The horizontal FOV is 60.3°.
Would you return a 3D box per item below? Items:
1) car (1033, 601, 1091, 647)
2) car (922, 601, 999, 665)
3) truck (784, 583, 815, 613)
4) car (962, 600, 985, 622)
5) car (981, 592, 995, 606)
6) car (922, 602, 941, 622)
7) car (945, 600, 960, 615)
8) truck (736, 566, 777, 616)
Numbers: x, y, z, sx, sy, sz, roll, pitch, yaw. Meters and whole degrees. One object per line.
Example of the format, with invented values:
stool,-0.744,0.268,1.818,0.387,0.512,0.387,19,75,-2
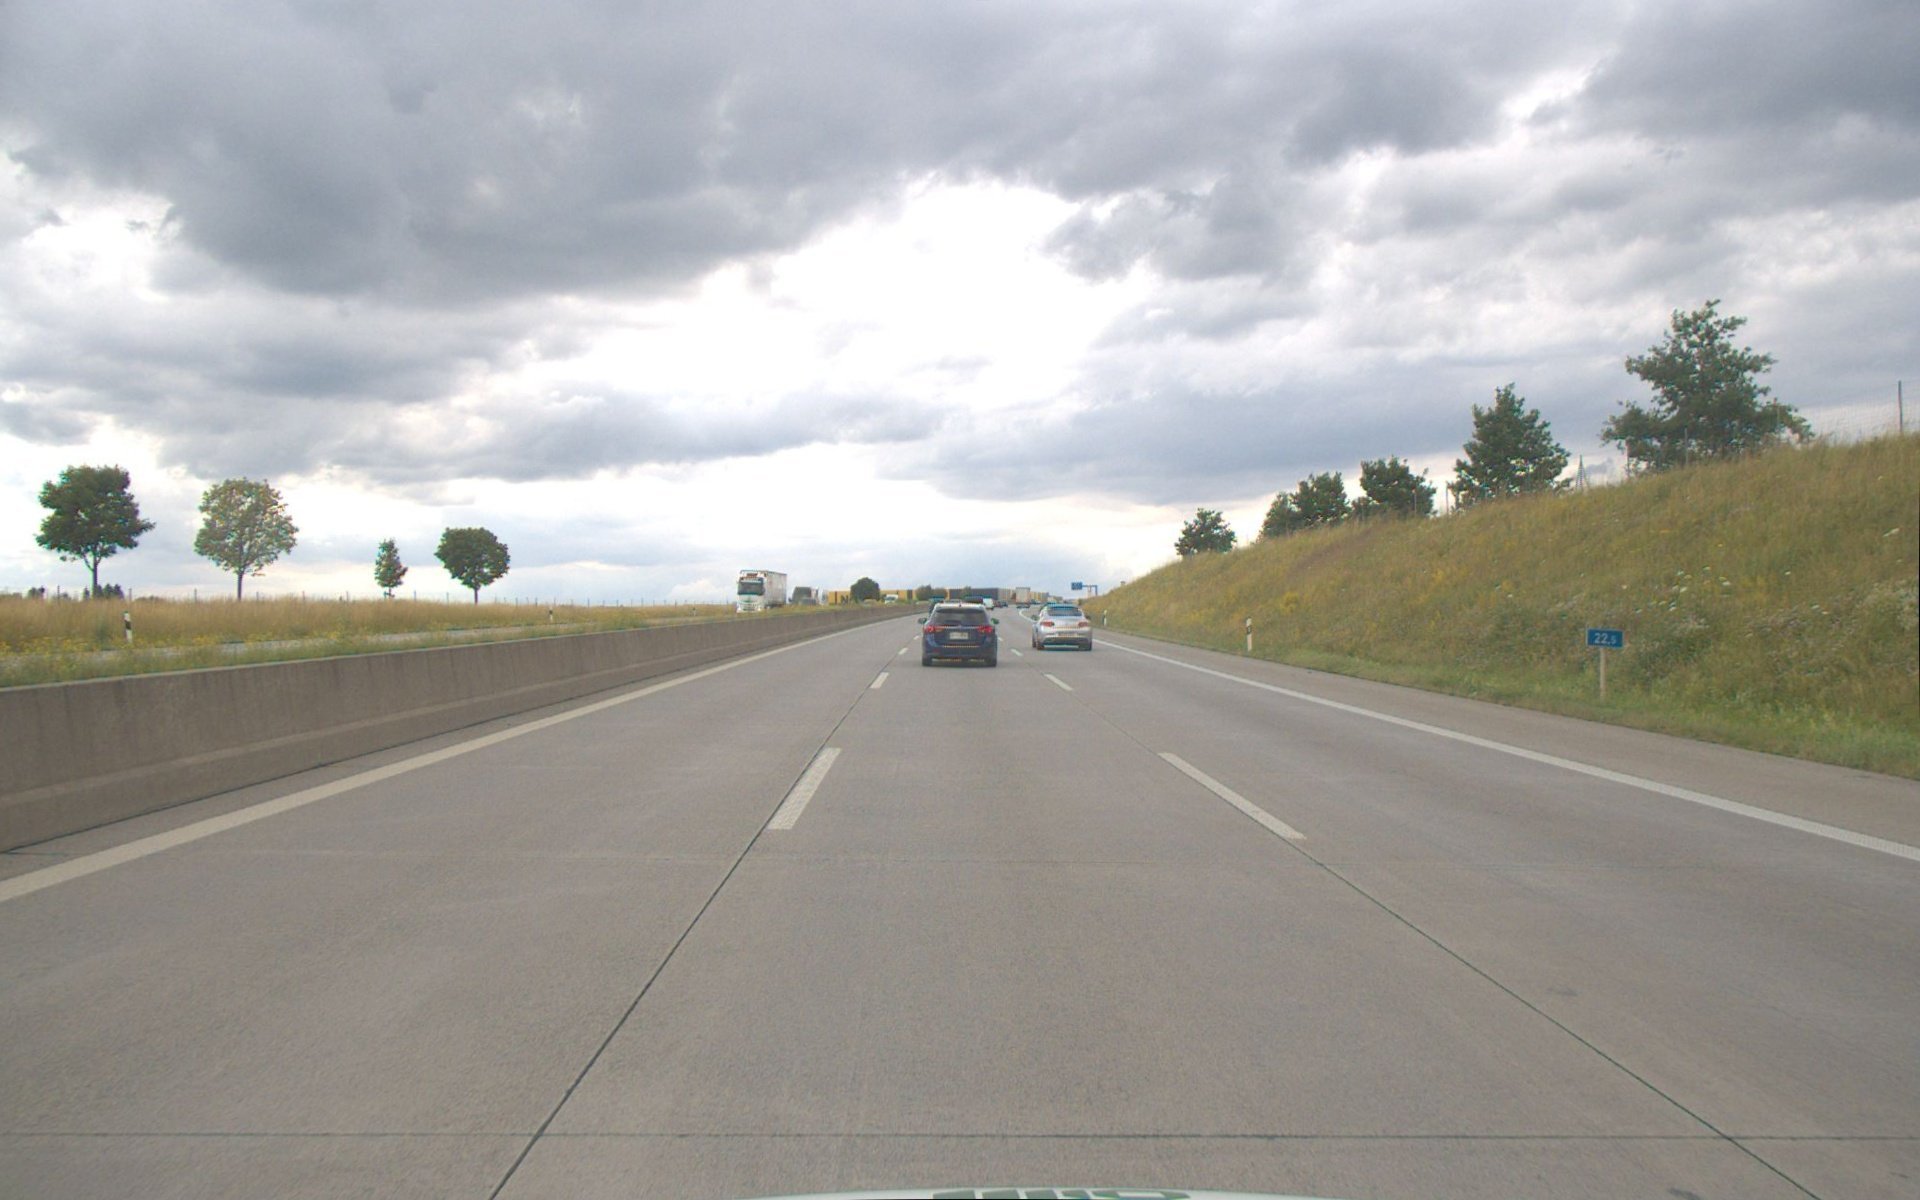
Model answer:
car,3.265,0.758,53.487,1.751,1.428,4.222,0,0,2
car,0.024,0.759,39.363,1.738,1.438,4.000,0,0,0
truck,-14.974,-0.173,154.812,2.205,2.773,7.125,1,0,0
car,1.256,1.033,156.578,1.953,2.049,3.998,1,-1,-2
car,4.268,-0.118,253.596,1.952,2.049,4.001,1,-1,2
car,-3.062,1.293,179.418,2.005,2.049,3.998,1,-1,-2
car,-1.067,1.036,236.297,1.954,2.049,3.997,1,-1,-3
truck,-18.229,-0.759,148.453,2.783,4.330,6.091,1,-1,0
